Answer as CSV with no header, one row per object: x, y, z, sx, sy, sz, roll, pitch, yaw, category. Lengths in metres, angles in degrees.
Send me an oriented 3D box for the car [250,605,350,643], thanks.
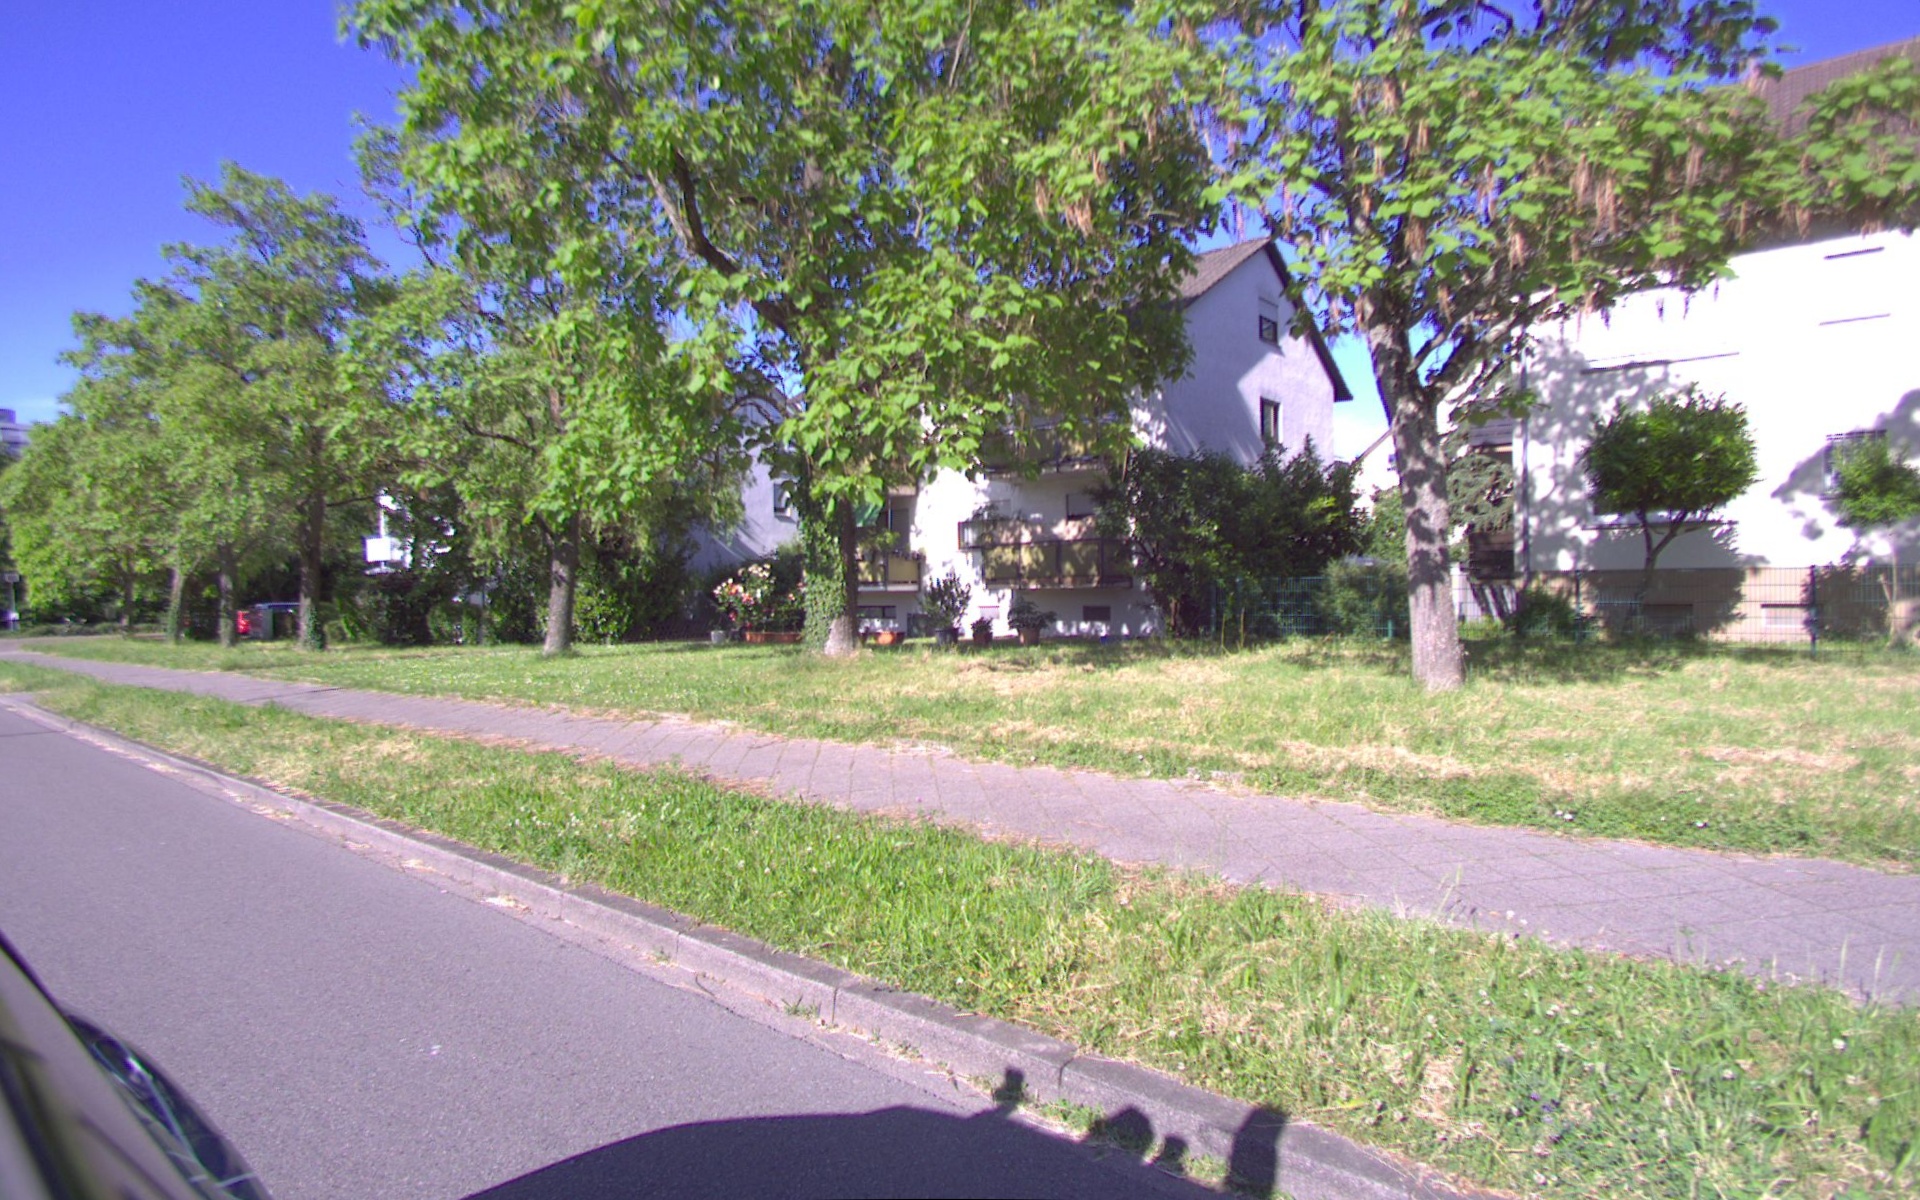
-37.572,1.357,57.694,2.069,1.984,4.402,-3,-1,43,car

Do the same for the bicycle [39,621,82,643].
-53.538,1.901,60.258,1.875,1.161,0.762,-1,3,-40,bicycle

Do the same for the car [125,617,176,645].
-48.627,1.853,60.784,3.882,1.498,1.653,1,1,40,car

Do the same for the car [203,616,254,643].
-45.240,1.811,62.538,3.882,1.498,1.653,1,1,40,car
